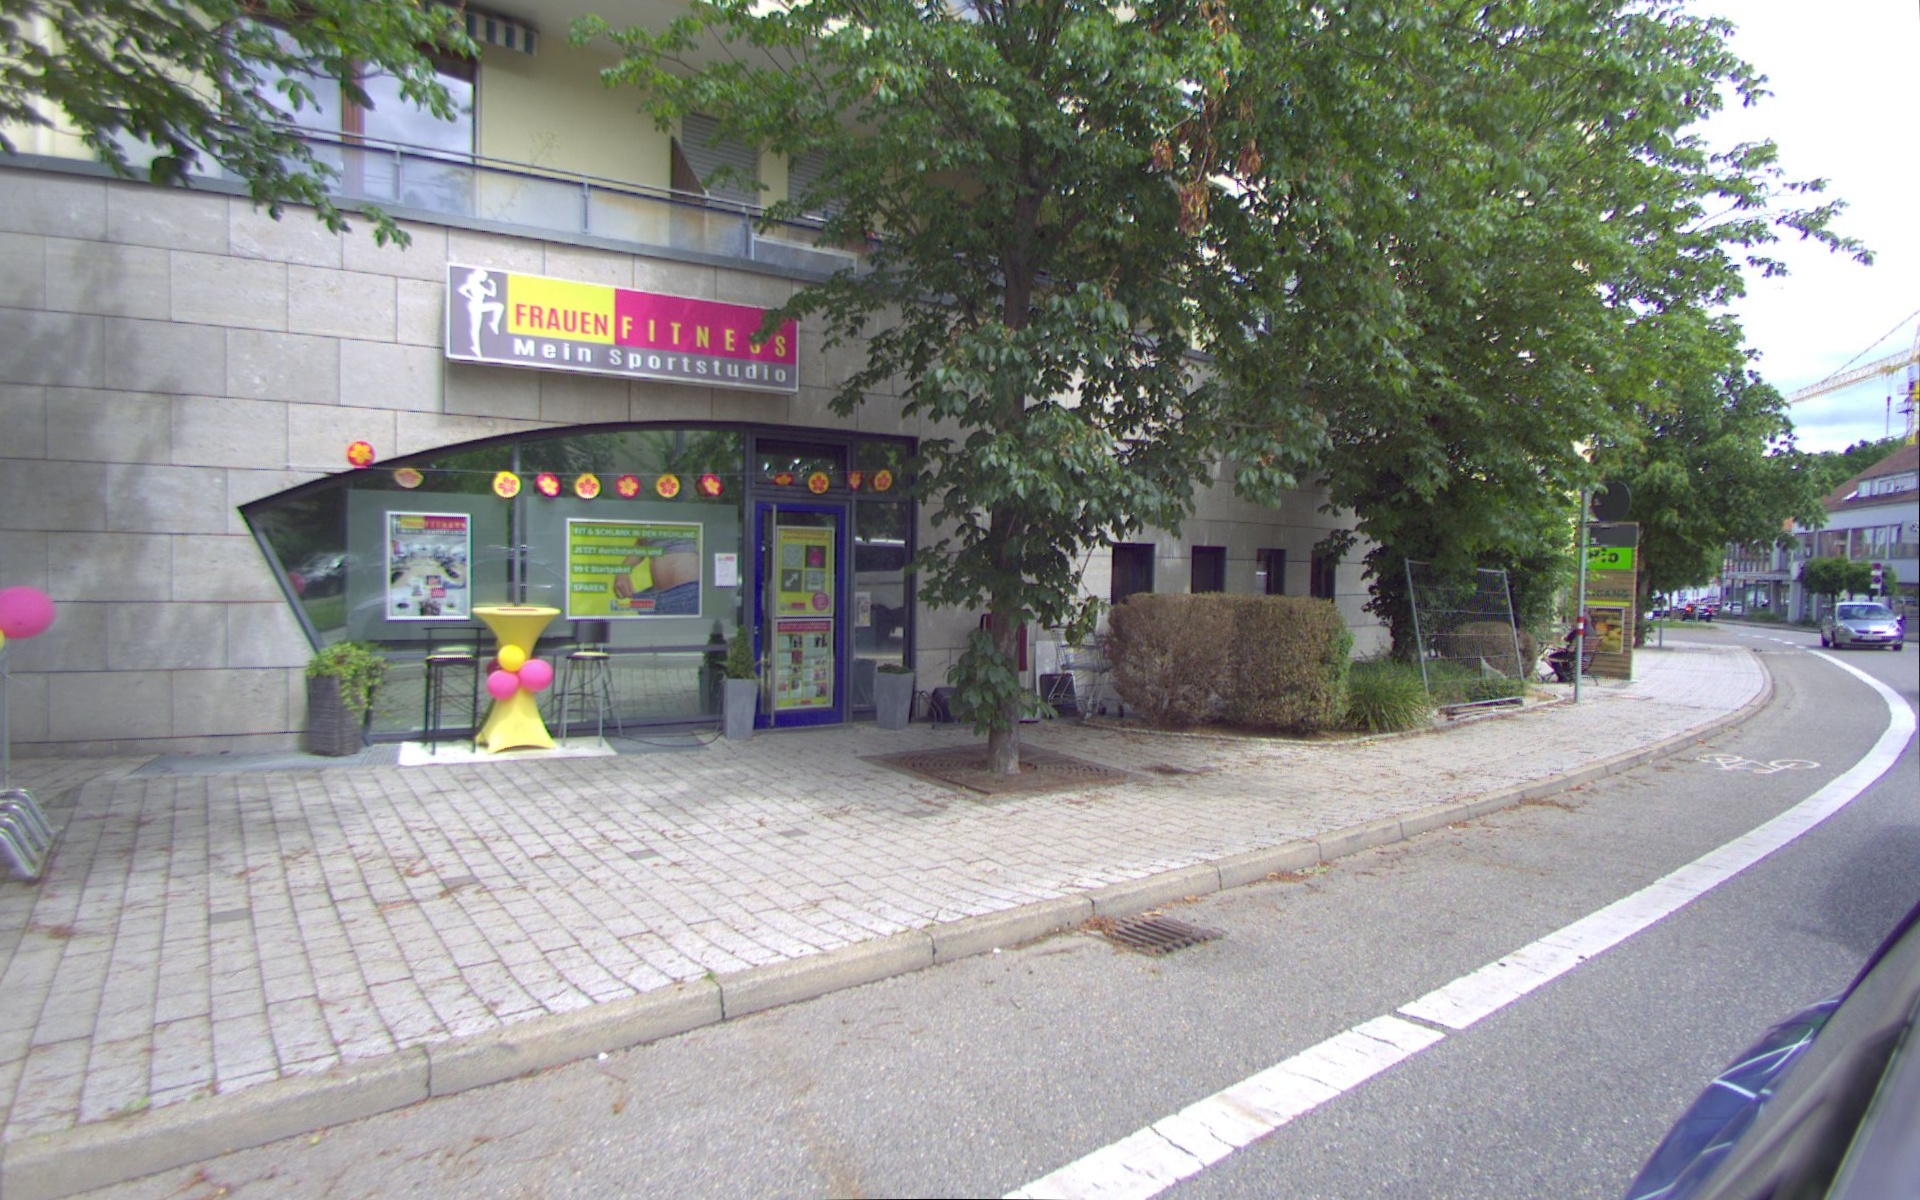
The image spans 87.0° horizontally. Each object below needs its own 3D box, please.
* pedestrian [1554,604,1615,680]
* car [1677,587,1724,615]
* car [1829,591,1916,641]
[{"bbox_3d":[11.366,0.739,18.428,0.741,1.317,0.730,0,2,-41],"label":"pedestrian"},{"bbox_3d":[53.222,0.043,72.794,1.722,1.874,3.970,2,2,23],"label":"car"},{"bbox_3d":[29.526,0.476,32.853,1.684,1.505,3.948,-1,0,36],"label":"car"}]
